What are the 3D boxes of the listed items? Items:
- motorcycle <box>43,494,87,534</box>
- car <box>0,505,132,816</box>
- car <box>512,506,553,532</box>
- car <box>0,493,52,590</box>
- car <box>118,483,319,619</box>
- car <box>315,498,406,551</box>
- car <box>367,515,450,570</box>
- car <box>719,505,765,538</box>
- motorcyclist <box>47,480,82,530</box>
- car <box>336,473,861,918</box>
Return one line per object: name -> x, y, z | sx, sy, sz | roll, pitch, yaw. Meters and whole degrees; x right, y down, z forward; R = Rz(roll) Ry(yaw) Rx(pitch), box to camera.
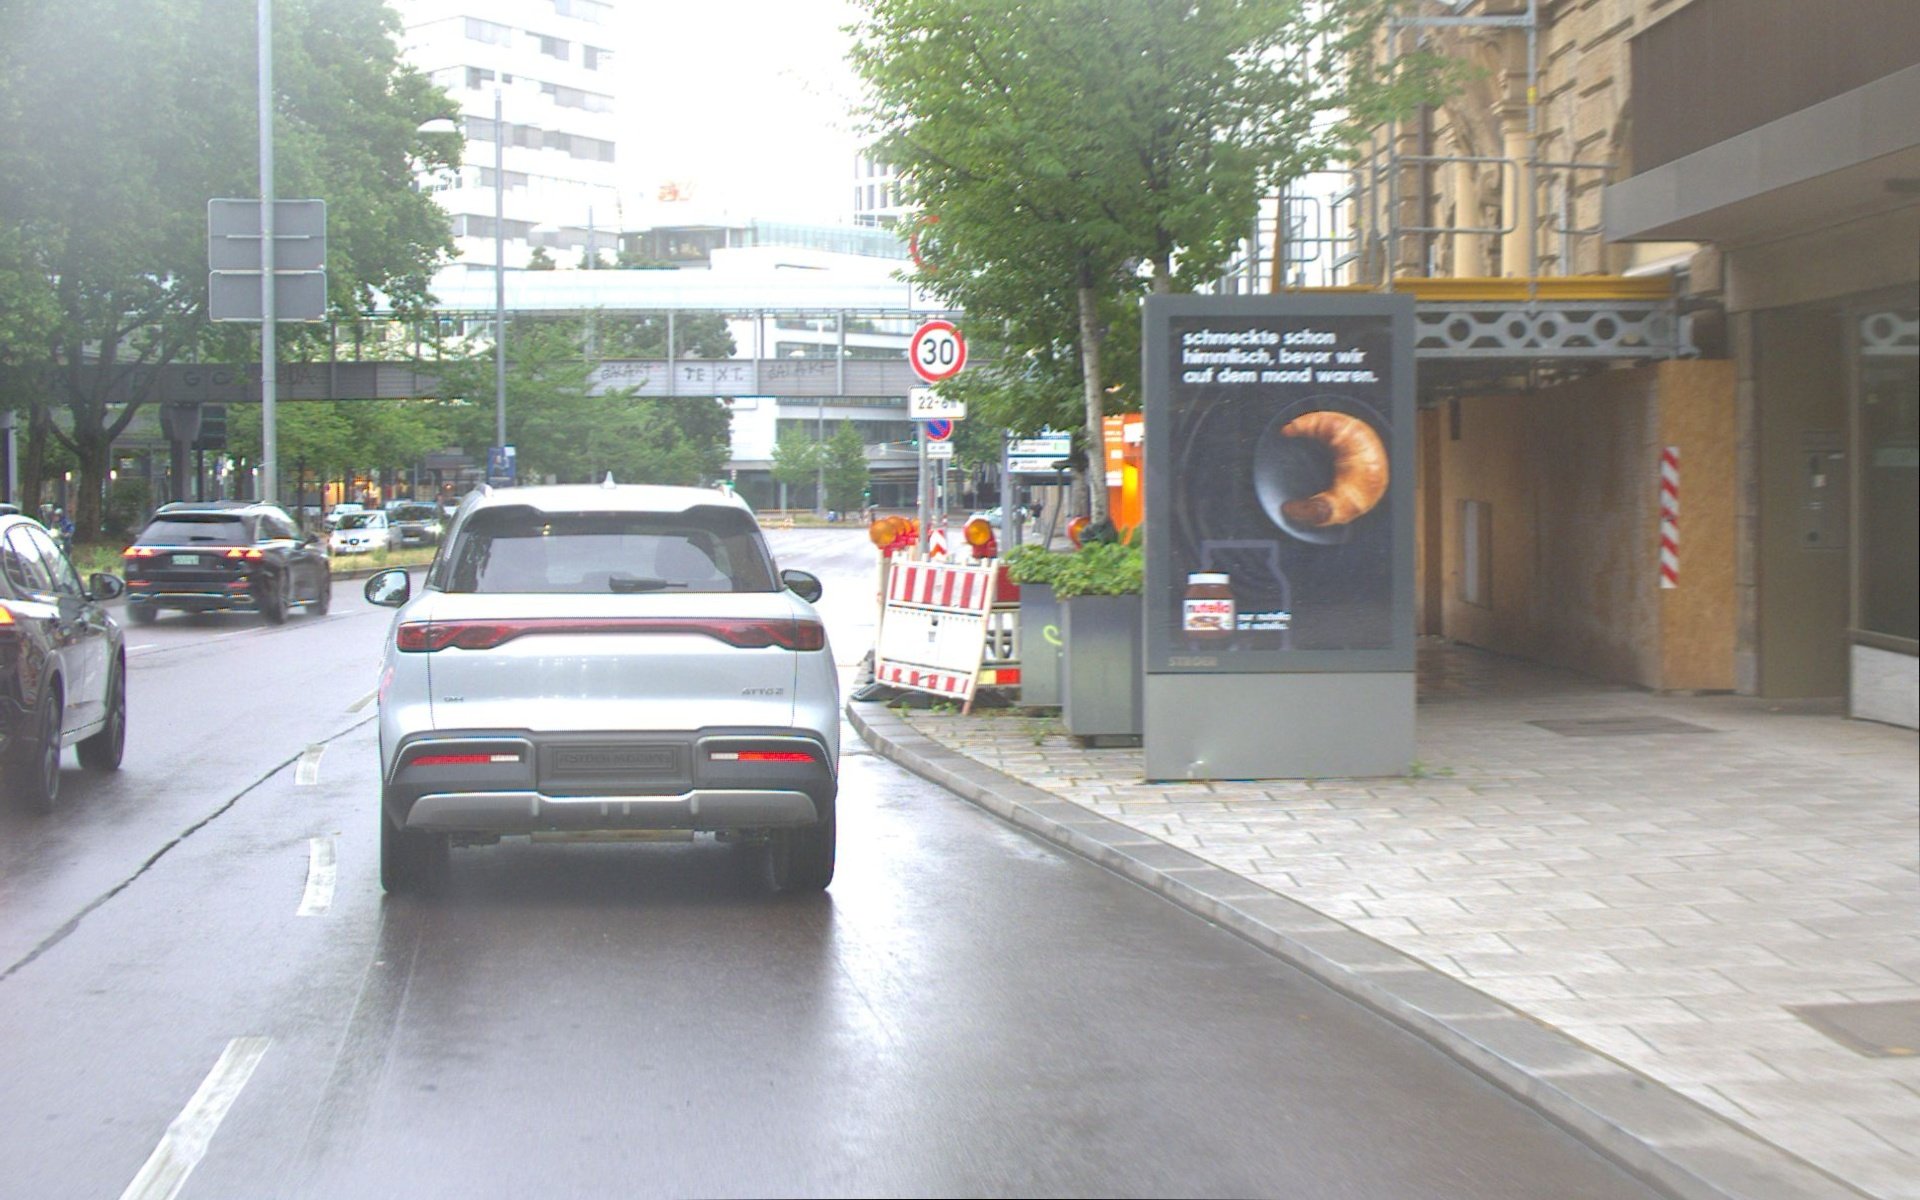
motorcycle -> -21.997, -2.103, 84.470 | 0.694, 0.966, 1.397 | 1, 1, 1
car -> -5.453, 0.247, 17.908 | 1.773, 1.452, 4.001 | 0, 1, -7
car -> -22.890, -4.337, 184.100 | 1.597, 1.355, 4.116 | 0, 1, 1
car -> -15.143, -0.873, 51.356 | 1.860, 1.437, 4.313 | 0, 1, 3
car -> -9.058, -0.632, 42.273 | 1.811, 1.573, 4.001 | 1, 2, -3
car -> -15.879, -1.985, 91.181 | 1.597, 1.355, 4.116 | 0, 1, 1
car -> -17.061, -1.774, 106.539 | 1.874, 1.674, 4.681 | 0, 1, -1
car -> -9.333, -3.372, 147.440 | 1.653, 1.337, 4.000 | 1, 2, 1
motorcyclist -> -22.003, -2.332, 84.442 | 0.674, 1.234, 0.619 | 1, 1, 1
car -> -1.590, 0.299, 14.762 | 1.901, 1.616, 4.001 | 1, 2, -7
